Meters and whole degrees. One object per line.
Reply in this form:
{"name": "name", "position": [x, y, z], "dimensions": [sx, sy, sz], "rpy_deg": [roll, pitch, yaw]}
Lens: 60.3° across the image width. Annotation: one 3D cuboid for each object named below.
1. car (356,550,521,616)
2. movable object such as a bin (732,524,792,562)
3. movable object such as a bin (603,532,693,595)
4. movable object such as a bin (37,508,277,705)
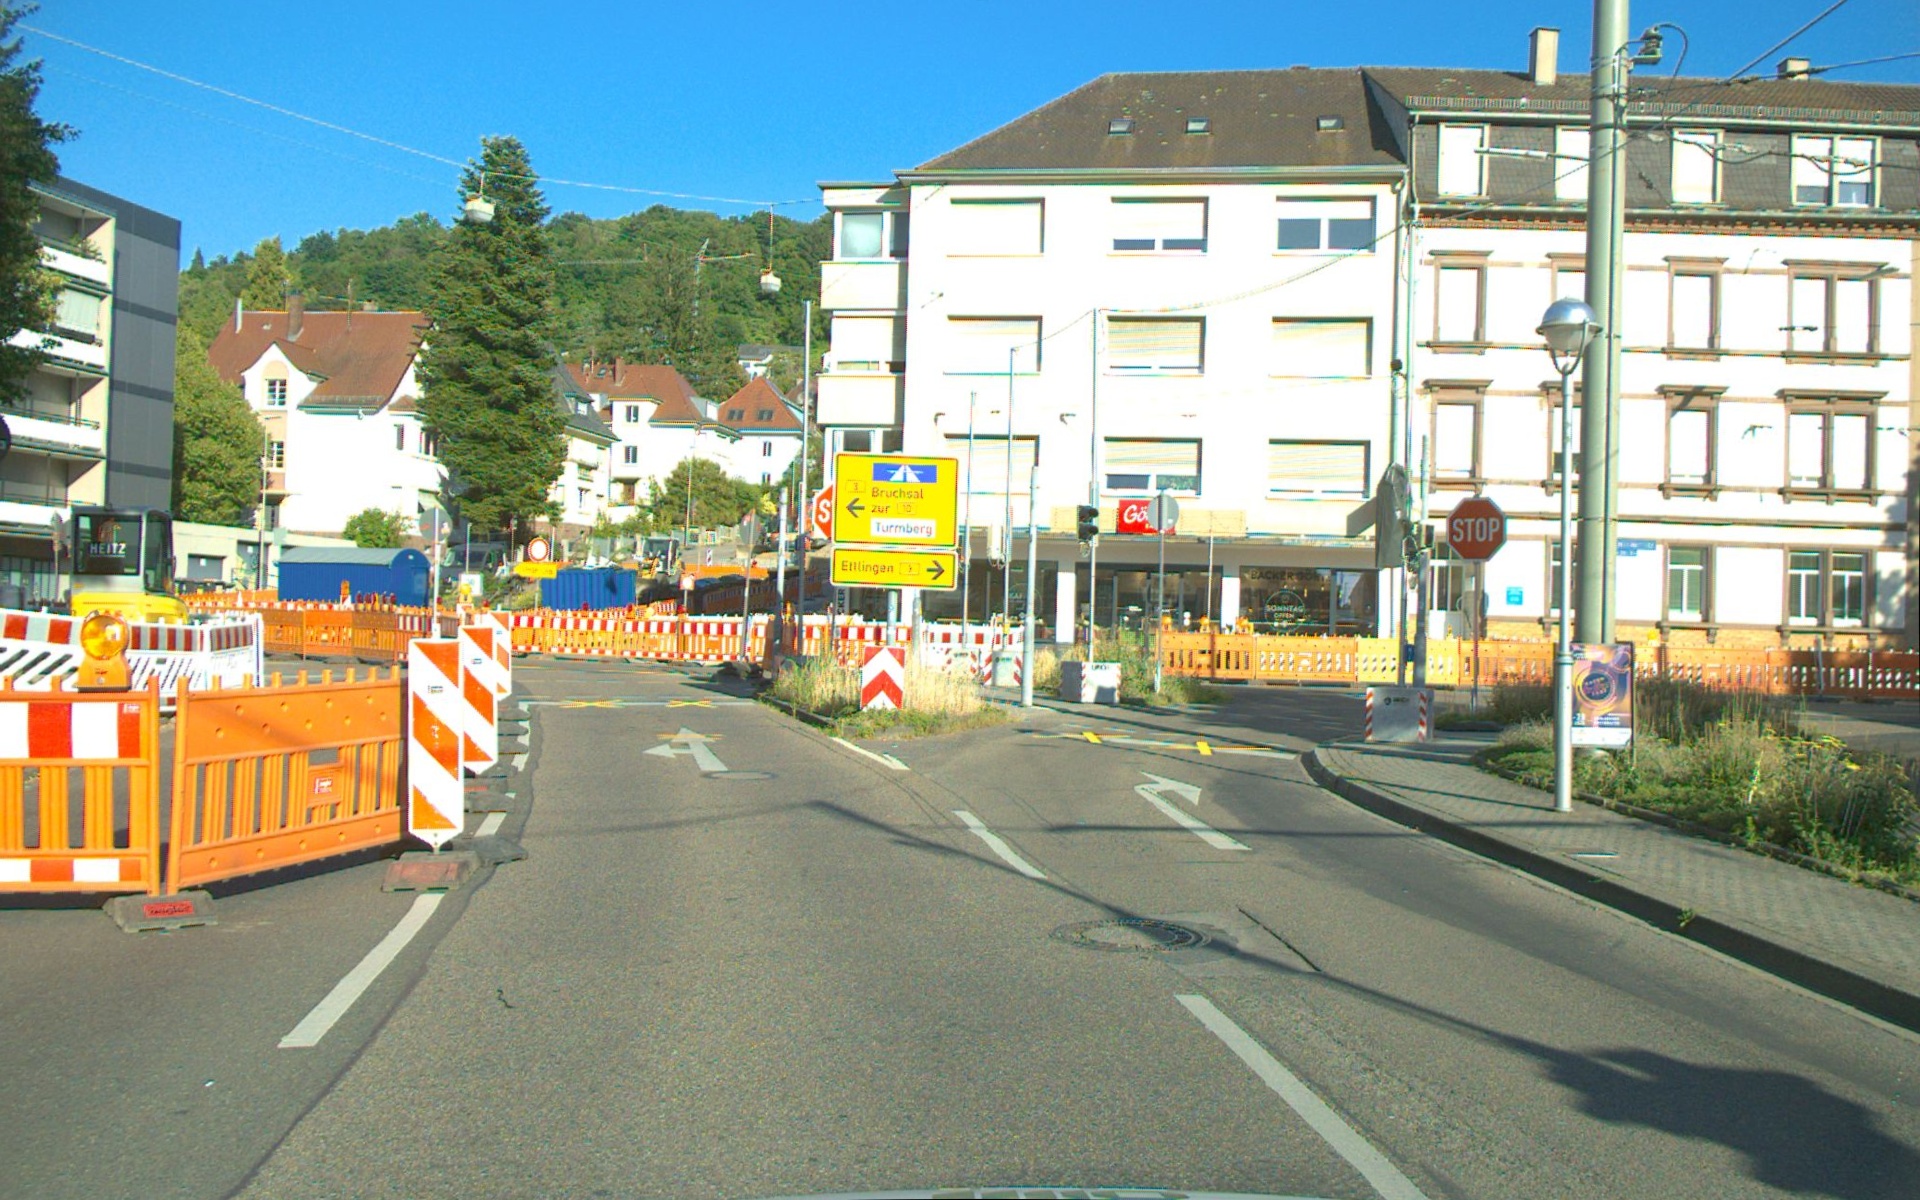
{"name": "car", "position": [-18.274, -0.535, 58.391], "dimensions": [2.529, 2.158, 6.154], "rpy_deg": [1, -1, 16]}
{"name": "movable object such as a bin", "position": [-12.787, -3.690, 107.319], "dimensions": [2.510, 2.159, 5.788], "rpy_deg": [1, -1, 7]}
{"name": "movable object such as a bin", "position": [-13.393, -1.522, 71.348], "dimensions": [1.907, 2.538, 4.554], "rpy_deg": [1, -1, 16]}
{"name": "movable object such as a bin", "position": [-10.504, 0.081, 21.943], "dimensions": [1.615, 2.365, 3.915], "rpy_deg": [1, 0, -7]}
